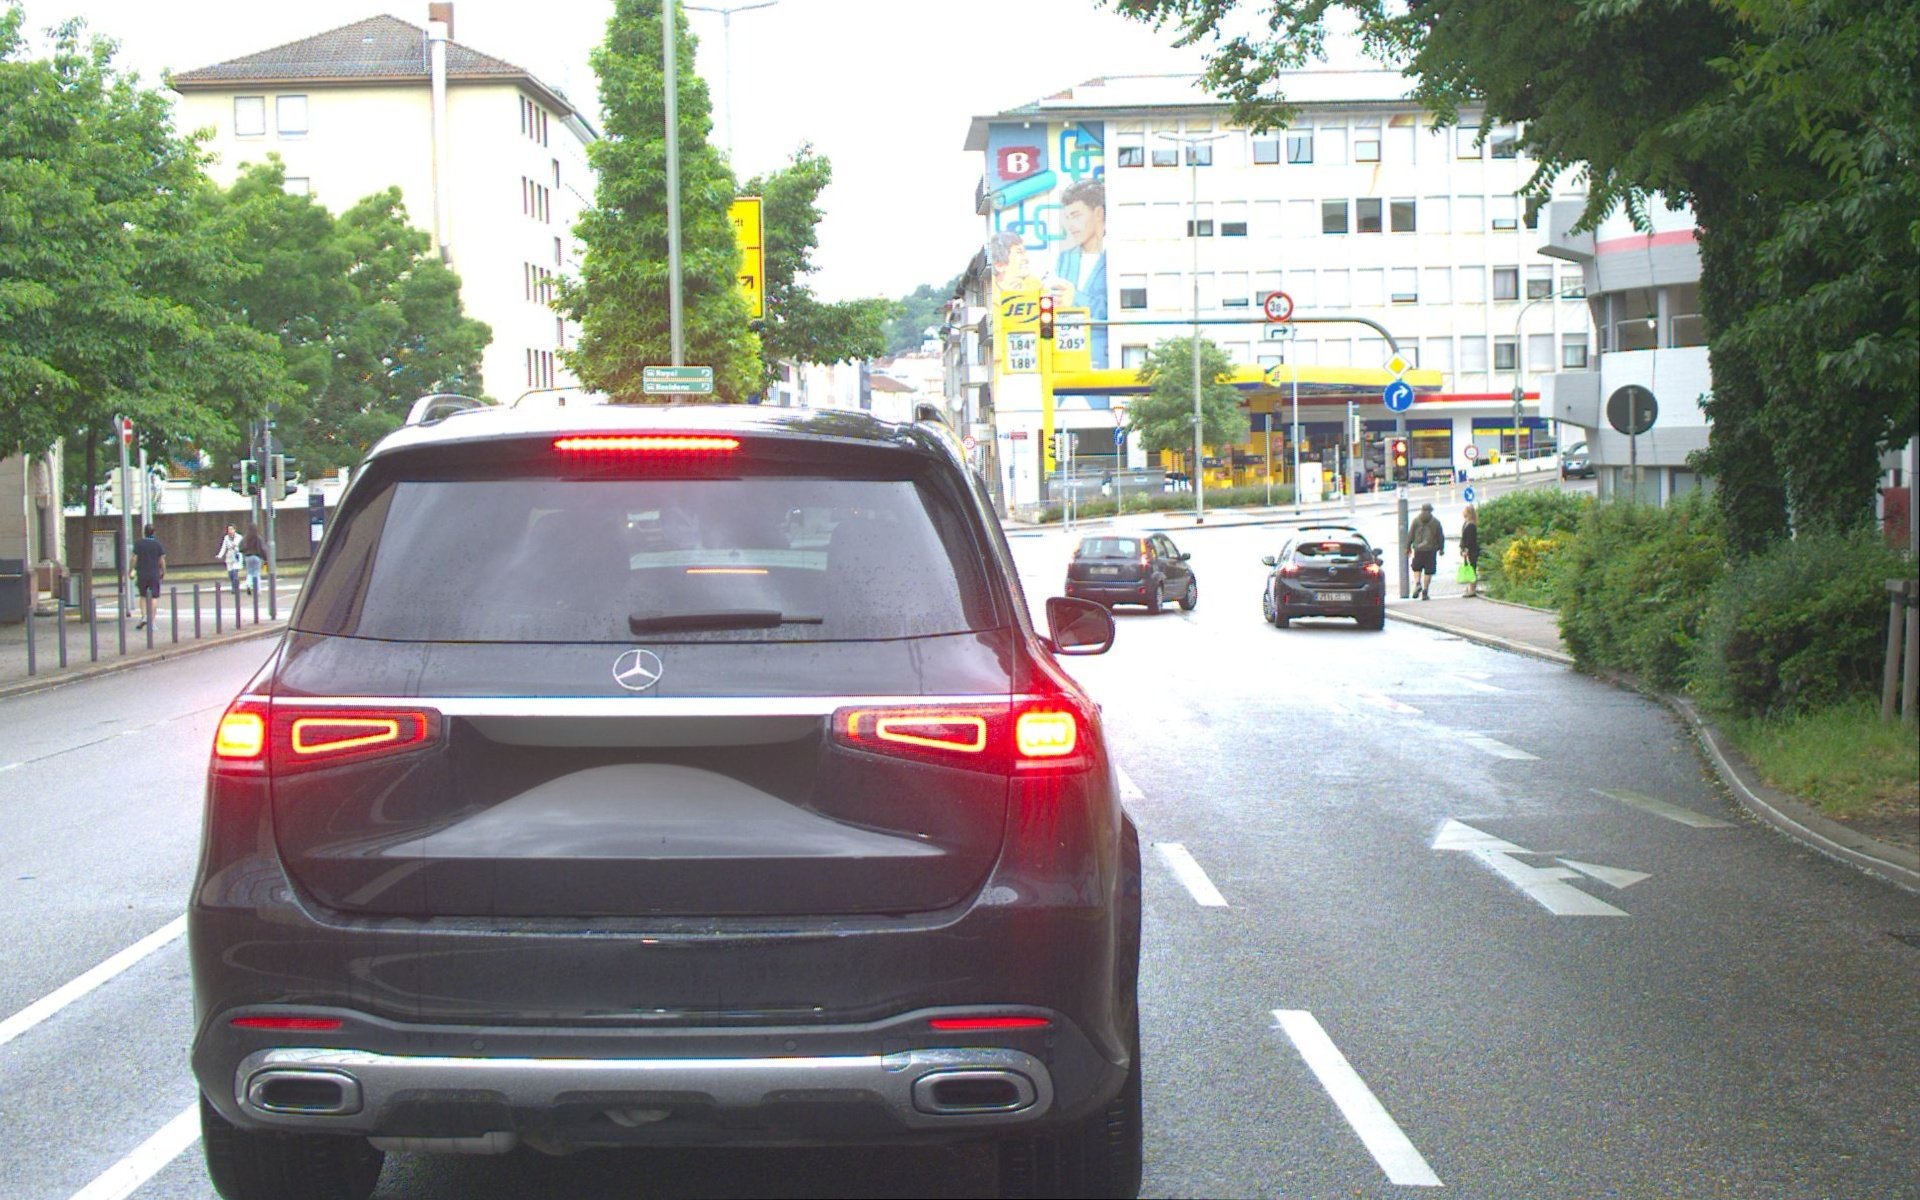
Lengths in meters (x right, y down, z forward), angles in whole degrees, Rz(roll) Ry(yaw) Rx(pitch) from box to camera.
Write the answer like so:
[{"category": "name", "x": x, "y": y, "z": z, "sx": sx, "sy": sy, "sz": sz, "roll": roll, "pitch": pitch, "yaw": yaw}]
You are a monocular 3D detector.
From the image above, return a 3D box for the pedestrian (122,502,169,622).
[{"category": "pedestrian", "x": -13.857, "y": -0.649, "z": 58.513, "sx": 0.587, "sy": 2.007, "sz": 0.749, "roll": 2, "pitch": 1, "yaw": -2}]

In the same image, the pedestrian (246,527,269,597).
[{"category": "pedestrian", "x": -16.454, "y": -0.889, "z": 80.525, "sx": 0.399, "sy": 1.639, "sz": 0.567, "roll": 1, "pitch": 0, "yaw": -1}]

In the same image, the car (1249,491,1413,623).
[{"category": "car", "x": 5.836, "y": -0.705, "z": 54.556, "sx": 1.993, "sy": 2.007, "sz": 4.001, "roll": 0, "pitch": 1, "yaw": -2}]

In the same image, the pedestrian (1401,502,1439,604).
[{"category": "pedestrian", "x": 8.766, "y": -0.897, "z": 65.518, "sx": 0.620, "sy": 1.929, "sz": 0.610, "roll": 1, "pitch": 0, "yaw": 2}]

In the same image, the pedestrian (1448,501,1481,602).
[{"category": "pedestrian", "x": 9.589, "y": -0.911, "z": 65.383, "sx": 0.519, "sy": 1.904, "sz": 0.556, "roll": 1, "pitch": 0, "yaw": -1}]

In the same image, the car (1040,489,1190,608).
[{"category": "car", "x": 2.697, "y": -0.892, "z": 60.693, "sx": 1.993, "sy": 2.007, "sz": 4.001, "roll": 1, "pitch": 0, "yaw": -7}]

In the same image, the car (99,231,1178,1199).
[{"category": "car", "x": -0.669, "y": 0.315, "z": 8.451, "sx": 1.993, "sy": 2.007, "sz": 4.000, "roll": 1, "pitch": 0, "yaw": -2}]

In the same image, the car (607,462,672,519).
[{"category": "car", "x": -11.297, "y": -3.857, "z": 121.524, "sx": 1.993, "sy": 1.868, "sz": 5.142, "roll": 1, "pitch": 0, "yaw": -2}]

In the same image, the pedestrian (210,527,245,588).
[{"category": "pedestrian", "x": -17.592, "y": -1.020, "z": 82.535, "sx": 0.711, "sy": 1.457, "sz": 0.598, "roll": 1, "pitch": 0, "yaw": -2}]
